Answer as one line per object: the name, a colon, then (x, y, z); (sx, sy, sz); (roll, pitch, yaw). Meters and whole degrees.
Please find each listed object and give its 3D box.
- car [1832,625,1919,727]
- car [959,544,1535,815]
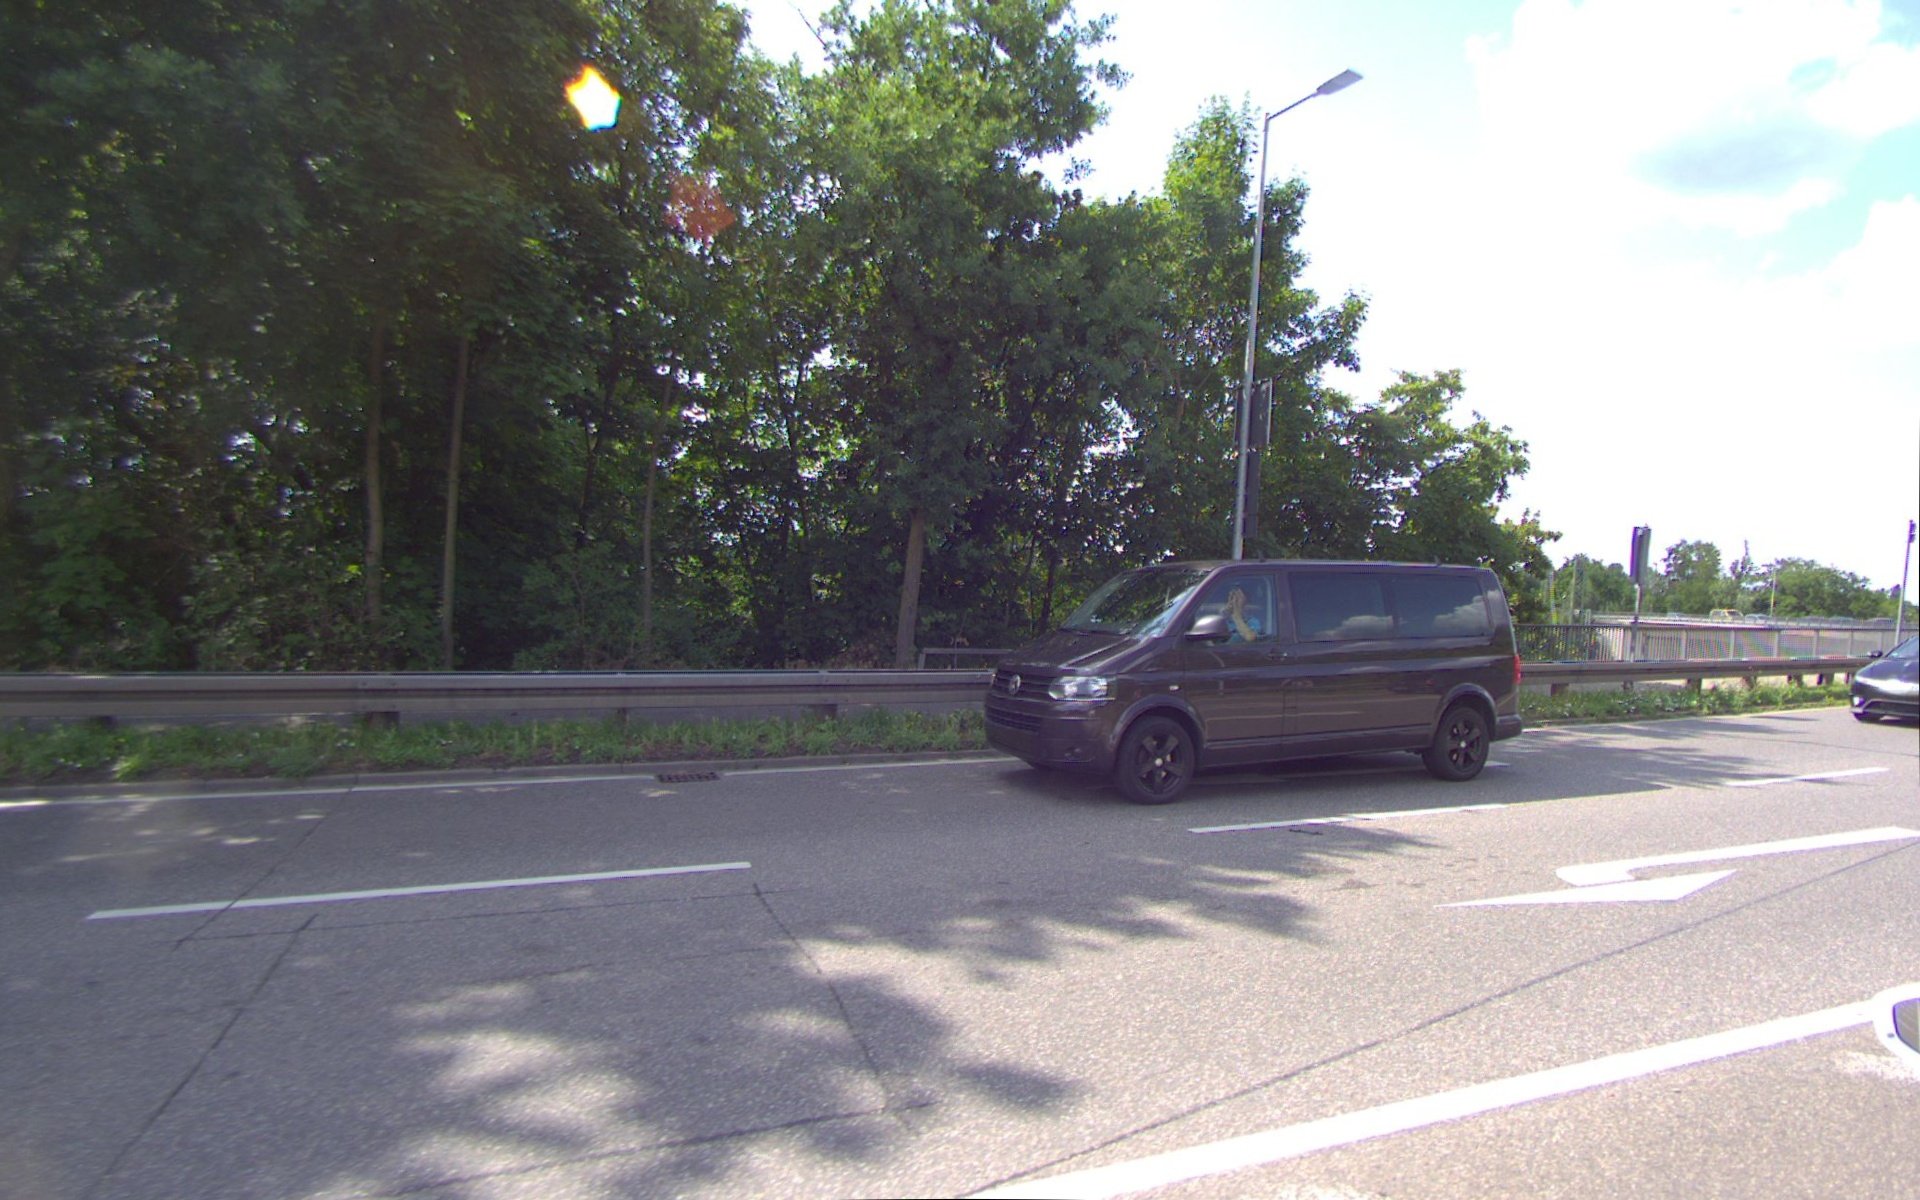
car: (15.343, 1.141, 15.340); (3.957, 1.408, 1.791); (1, 0, -29)
car: (2.704, 0.611, 9.218); (5.065, 1.939, 1.987); (1, 0, -26)
